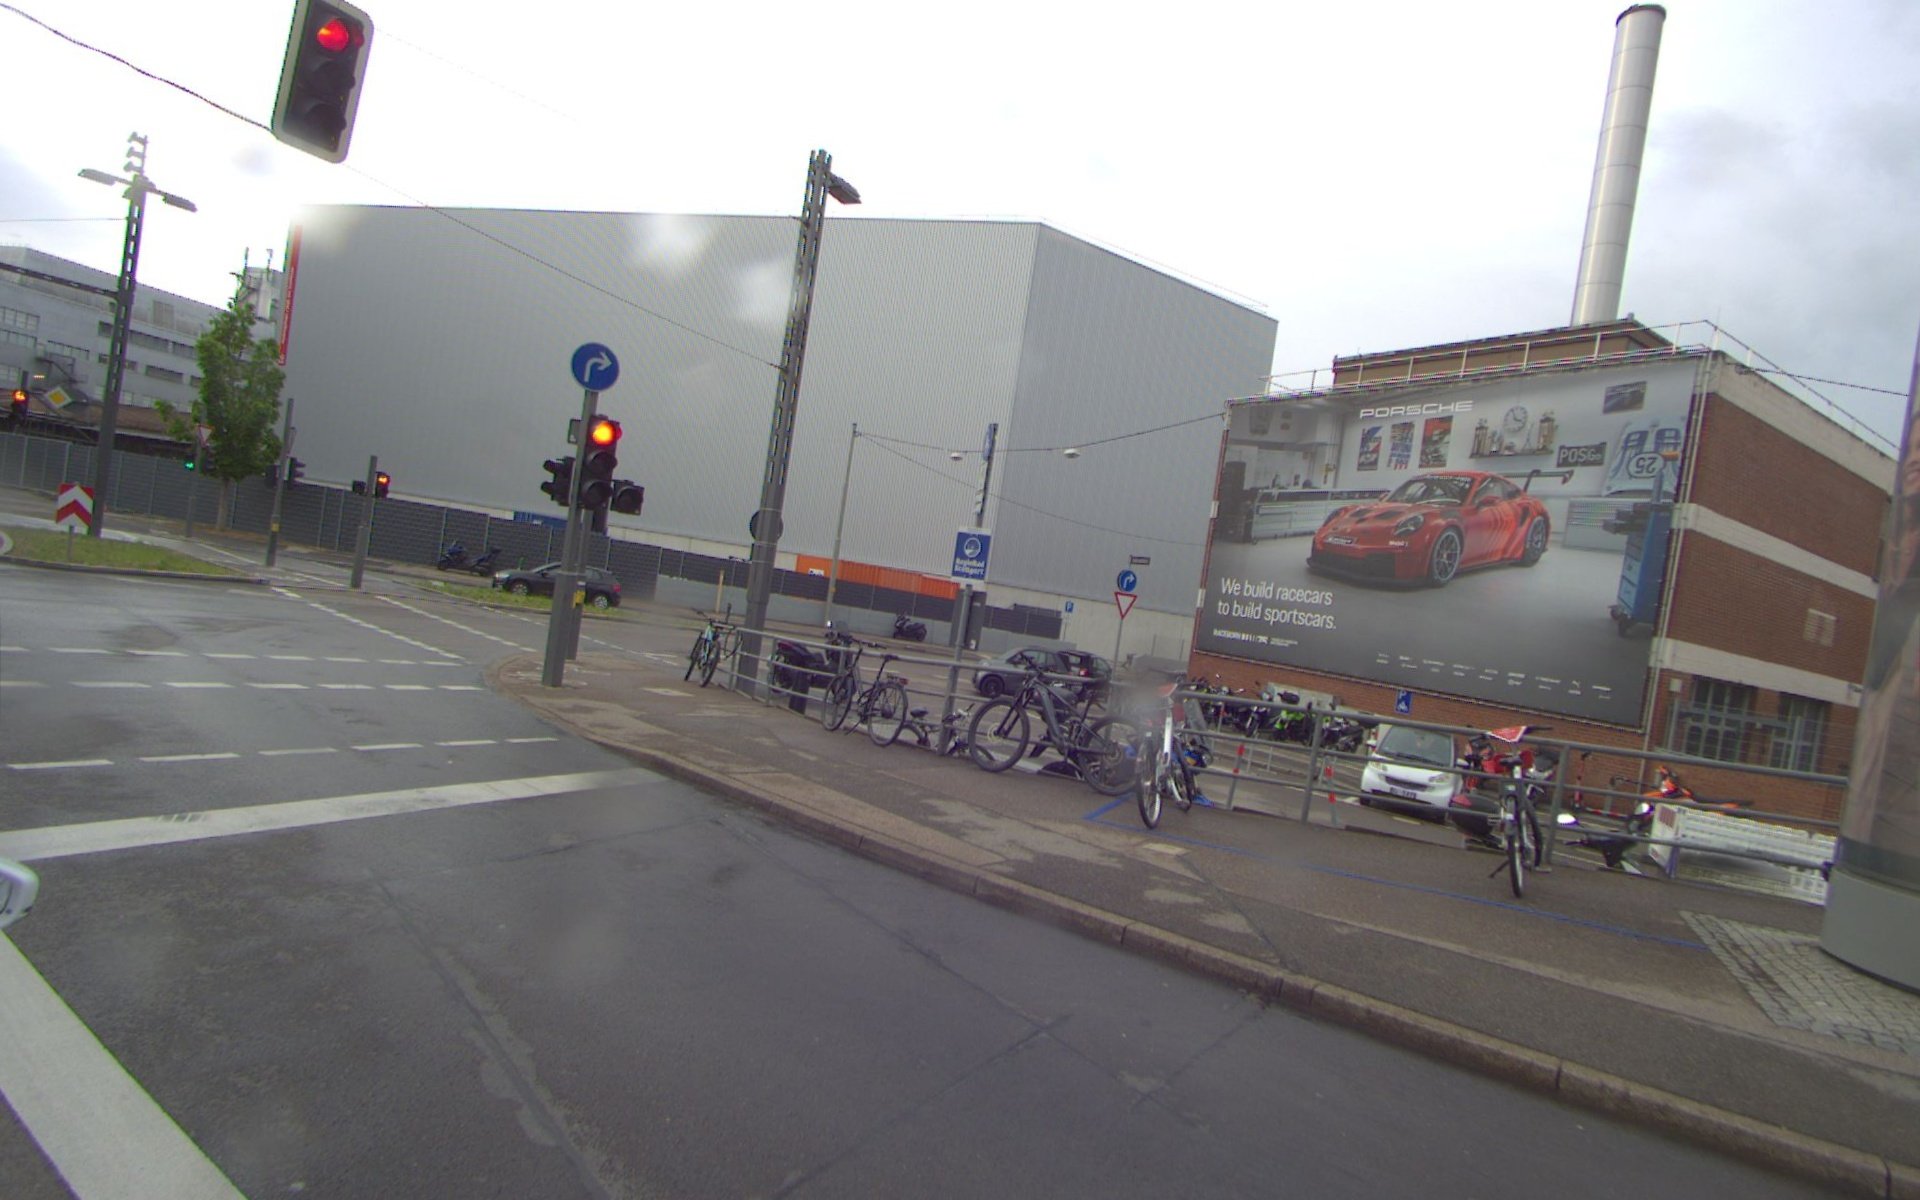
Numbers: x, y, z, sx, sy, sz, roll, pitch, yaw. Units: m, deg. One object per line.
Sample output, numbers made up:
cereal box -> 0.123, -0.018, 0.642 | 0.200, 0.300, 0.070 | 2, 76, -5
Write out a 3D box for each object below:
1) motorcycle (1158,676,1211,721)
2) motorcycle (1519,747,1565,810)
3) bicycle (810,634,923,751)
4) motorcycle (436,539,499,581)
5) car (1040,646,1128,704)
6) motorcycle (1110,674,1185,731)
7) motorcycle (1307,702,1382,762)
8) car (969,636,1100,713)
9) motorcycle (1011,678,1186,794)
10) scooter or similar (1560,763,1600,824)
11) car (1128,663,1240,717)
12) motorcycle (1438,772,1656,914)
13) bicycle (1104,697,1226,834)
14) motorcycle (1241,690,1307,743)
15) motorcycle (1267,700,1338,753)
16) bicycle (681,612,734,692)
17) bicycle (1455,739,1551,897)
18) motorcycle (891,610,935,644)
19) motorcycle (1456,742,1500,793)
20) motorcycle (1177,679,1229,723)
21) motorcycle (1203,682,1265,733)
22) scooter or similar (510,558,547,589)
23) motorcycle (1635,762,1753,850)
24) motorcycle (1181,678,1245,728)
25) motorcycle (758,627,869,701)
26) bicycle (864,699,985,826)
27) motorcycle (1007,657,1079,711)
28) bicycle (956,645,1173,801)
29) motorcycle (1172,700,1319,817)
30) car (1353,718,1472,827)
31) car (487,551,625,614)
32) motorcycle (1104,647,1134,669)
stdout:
motorcycle -> 6.622, 2.905, 29.724 | 0.538, 1.133, 1.593 | 8, -2, -25
motorcycle -> 12.354, 3.754, 21.329 | 0.576, 1.165, 1.717 | 6, -2, 36
bicycle -> -1.085, 1.010, 11.330 | 0.344, 1.097, 1.728 | 7, -1, -35
motorcycle -> -19.822, -1.604, 40.498 | 2.082, 1.326, 0.649 | 10, 0, -33
car -> 4.127, 2.486, 33.273 | 1.530, 1.510, 2.745 | 11, 0, 37
motorcycle -> 4.481, 2.440, 24.203 | 0.539, 1.123, 1.850 | 8, -2, -32
motorcycle -> 9.339, 3.213, 24.412 | 1.788, 1.253, 0.540 | 8, 1, -30
car -> 1.978, 2.007, 27.385 | 3.190, 1.521, 1.624 | 9, 0, -4
motorcycle -> 1.390, 1.366, 10.376 | 1.722, 0.906, 0.545 | 6, -1, 44
scooter or similar -> 12.889, 3.991, 20.910 | 0.496, 1.109, 1.635 | 6, -2, 36
car -> 8.214, 3.307, 36.816 | 4.070, 1.460, 1.554 | 9, -2, -35
motorcycle -> 5.064, 2.088, 8.760 | 1.512, 0.901, 0.403 | 6, 0, 19
bicycle -> 1.760, 1.331, 8.438 | 0.414, 0.973, 1.744 | 6, -1, 29
motorcycle -> 8.211, 3.046, 26.279 | 1.695, 1.194, 0.541 | 8, -2, -30
motorcycle -> 8.542, 3.165, 25.064 | 1.789, 1.132, 0.474 | 8, -2, -28
bicycle -> -4.092, 0.802, 16.225 | 0.416, 1.143, 2.064 | 7, -2, -22
bicycle -> 4.046, 1.551, 7.446 | 0.414, 0.933, 1.613 | 8, 0, 32
motorcycle -> -2.422, 1.404, 51.872 | 2.082, 1.393, 0.649 | 10, 0, -33
motorcycle -> 11.361, 3.654, 22.034 | 0.533, 0.984, 1.613 | 6, -2, 36
motorcycle -> 7.387, 3.064, 30.629 | 0.538, 1.123, 1.639 | 8, -2, -25
motorcycle -> 7.432, 2.928, 27.261 | 1.631, 1.194, 0.541 | 8, -2, -30
scooter or similar -> -17.824, -1.086, 41.559 | 1.247, 1.041, 0.385 | 9, 0, 0
motorcycle -> 14.102, 3.952, 19.380 | 1.639, 1.349, 0.524 | 6, -1, 21
motorcycle -> 7.138, 2.911, 28.343 | 1.631, 1.194, 0.670 | 8, -2, -30
motorcycle -> -2.645, 1.196, 18.372 | 0.481, 1.158, 2.086 | 6, -3, 41
bicycle -> -0.429, 1.755, 11.136 | 0.344, 1.097, 1.728 | 7, -1, -35
motorcycle -> 2.122, 2.134, 25.615 | 1.702, 1.159, 0.492 | 8, -2, -24
bicycle -> 0.970, 1.146, 9.713 | 1.981, 1.189, 0.400 | 6, 0, 30
motorcycle -> 2.758, 1.511, 9.742 | 1.241, 0.901, 0.434 | 6, 0, 23
car -> 8.569, 3.113, 18.858 | 1.541, 1.506, 3.996 | 8, -1, 29
car -> -13.483, -0.576, 33.605 | 3.958, 1.442, 1.707 | 9, -1, -30
motorcycle -> 10.132, 3.694, 64.160 | 0.622, 1.088, 1.906 | 8, 0, -38
